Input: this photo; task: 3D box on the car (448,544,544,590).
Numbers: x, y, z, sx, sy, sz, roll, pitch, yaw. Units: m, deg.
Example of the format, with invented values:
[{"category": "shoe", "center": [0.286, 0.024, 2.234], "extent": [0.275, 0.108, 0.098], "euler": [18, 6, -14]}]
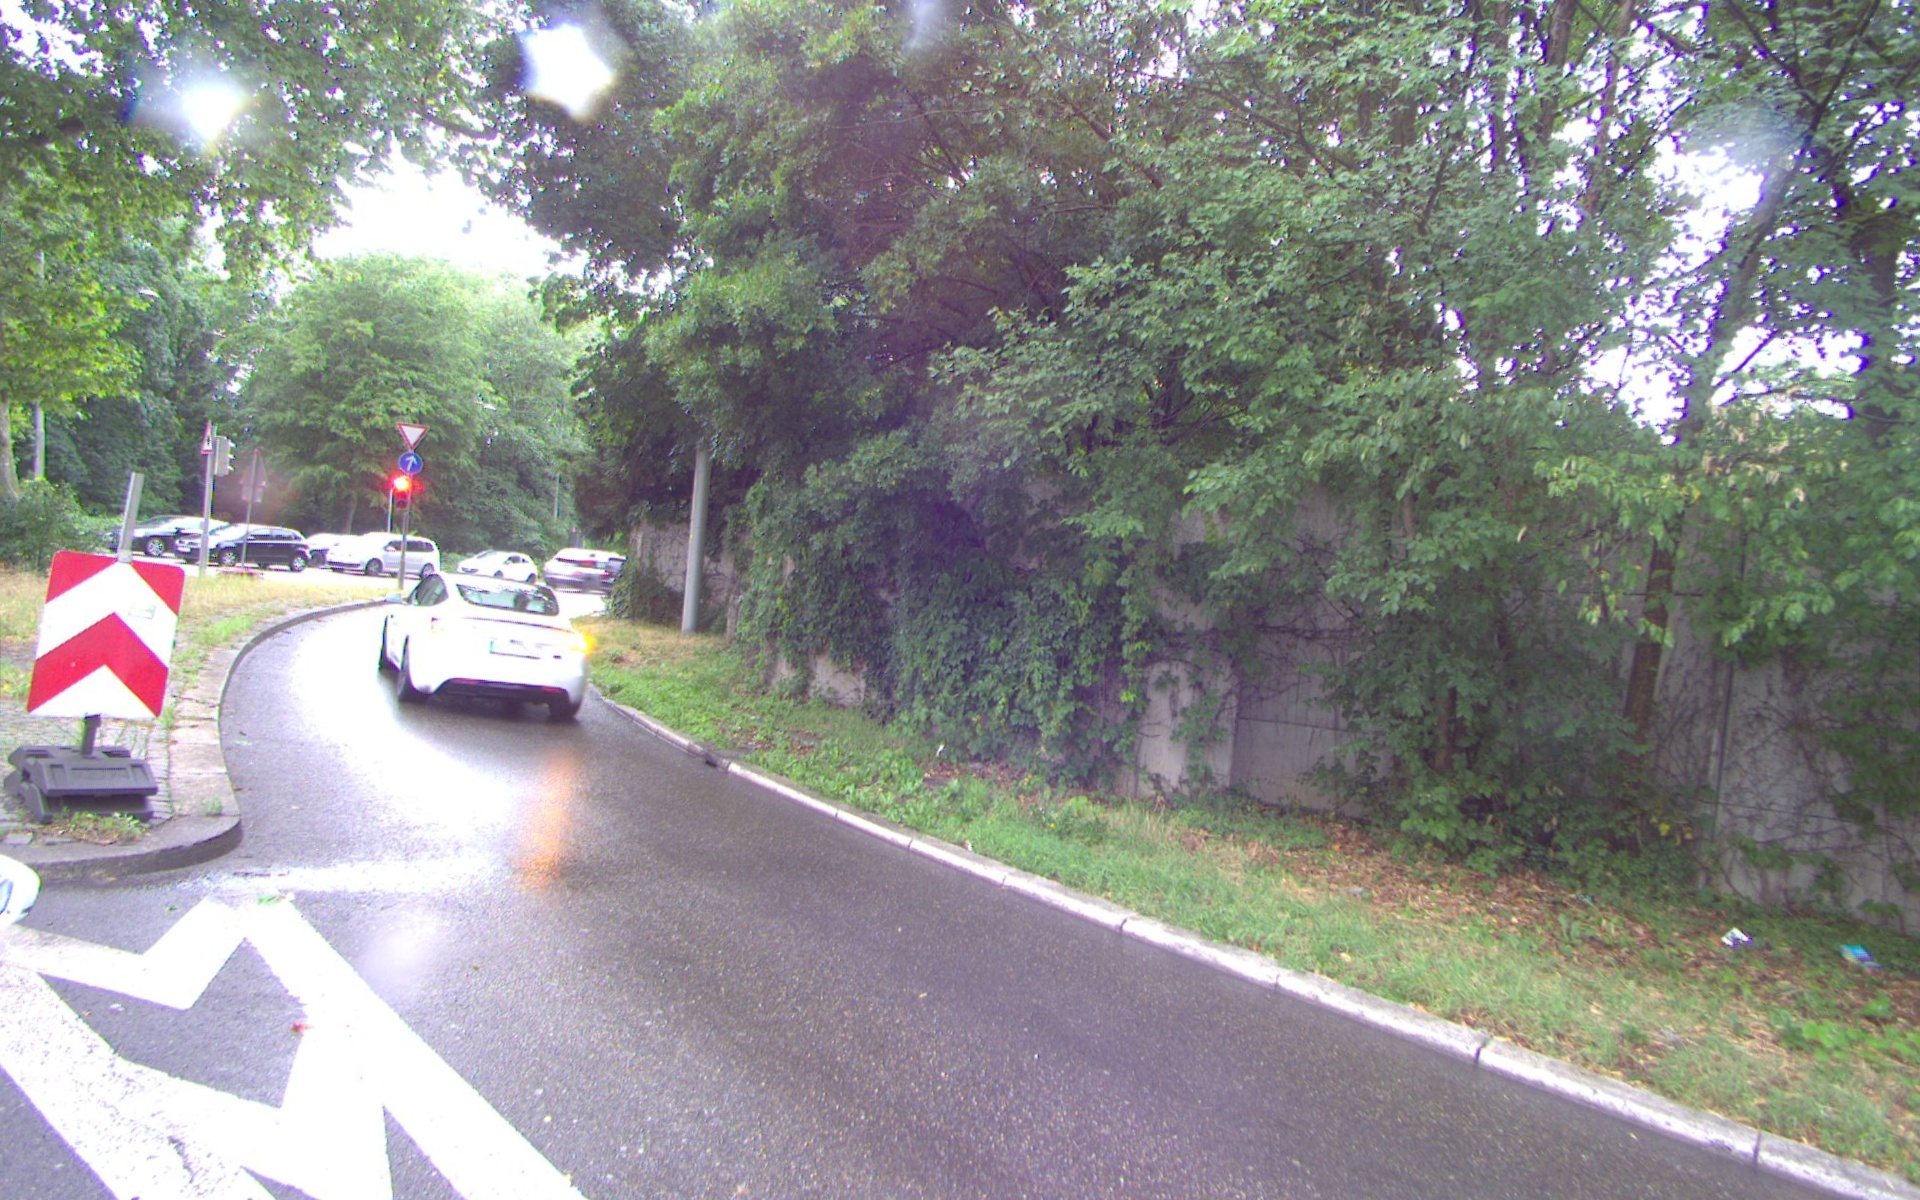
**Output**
[{"category": "car", "center": [-20.547, -1.425, 44.695], "extent": [1.627, 1.478, 3.869], "euler": [7, -2, 16]}]

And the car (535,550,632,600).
[{"category": "car", "center": [-17.184, -1.086, 46.122], "extent": [1.913, 1.699, 4.291], "euler": [7, -2, 14]}]

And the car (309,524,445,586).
[{"category": "car", "center": [-22.090, -1.654, 38.316], "extent": [1.871, 1.699, 4.216], "euler": [7, -2, 16]}]

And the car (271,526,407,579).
[{"category": "car", "center": [-24.784, -1.874, 40.350], "extent": [1.795, 1.418, 4.452], "euler": [7, -2, 16]}]

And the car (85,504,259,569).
[{"category": "car", "center": [-26.684, -2.116, 34.261], "extent": [1.913, 1.457, 4.218], "euler": [7, -2, 16]}]

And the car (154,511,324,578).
[{"category": "car", "center": [-23.313, -1.740, 32.738], "extent": [1.759, 1.477, 4.205], "euler": [7, -2, 16]}]

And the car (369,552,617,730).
[{"category": "car", "center": [-5.825, 0.369, 12.191], "extent": [1.844, 1.464, 4.575], "euler": [11, -3, -34]}]

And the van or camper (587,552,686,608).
[{"category": "van or camper", "center": [-14.541, -0.843, 45.574], "extent": [1.962, 1.902, 4.722], "euler": [7, -2, 12]}]

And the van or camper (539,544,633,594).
[{"category": "van or camper", "center": [-19.054, -1.527, 51.512], "extent": [1.871, 1.970, 4.869], "euler": [7, -1, 15]}]
